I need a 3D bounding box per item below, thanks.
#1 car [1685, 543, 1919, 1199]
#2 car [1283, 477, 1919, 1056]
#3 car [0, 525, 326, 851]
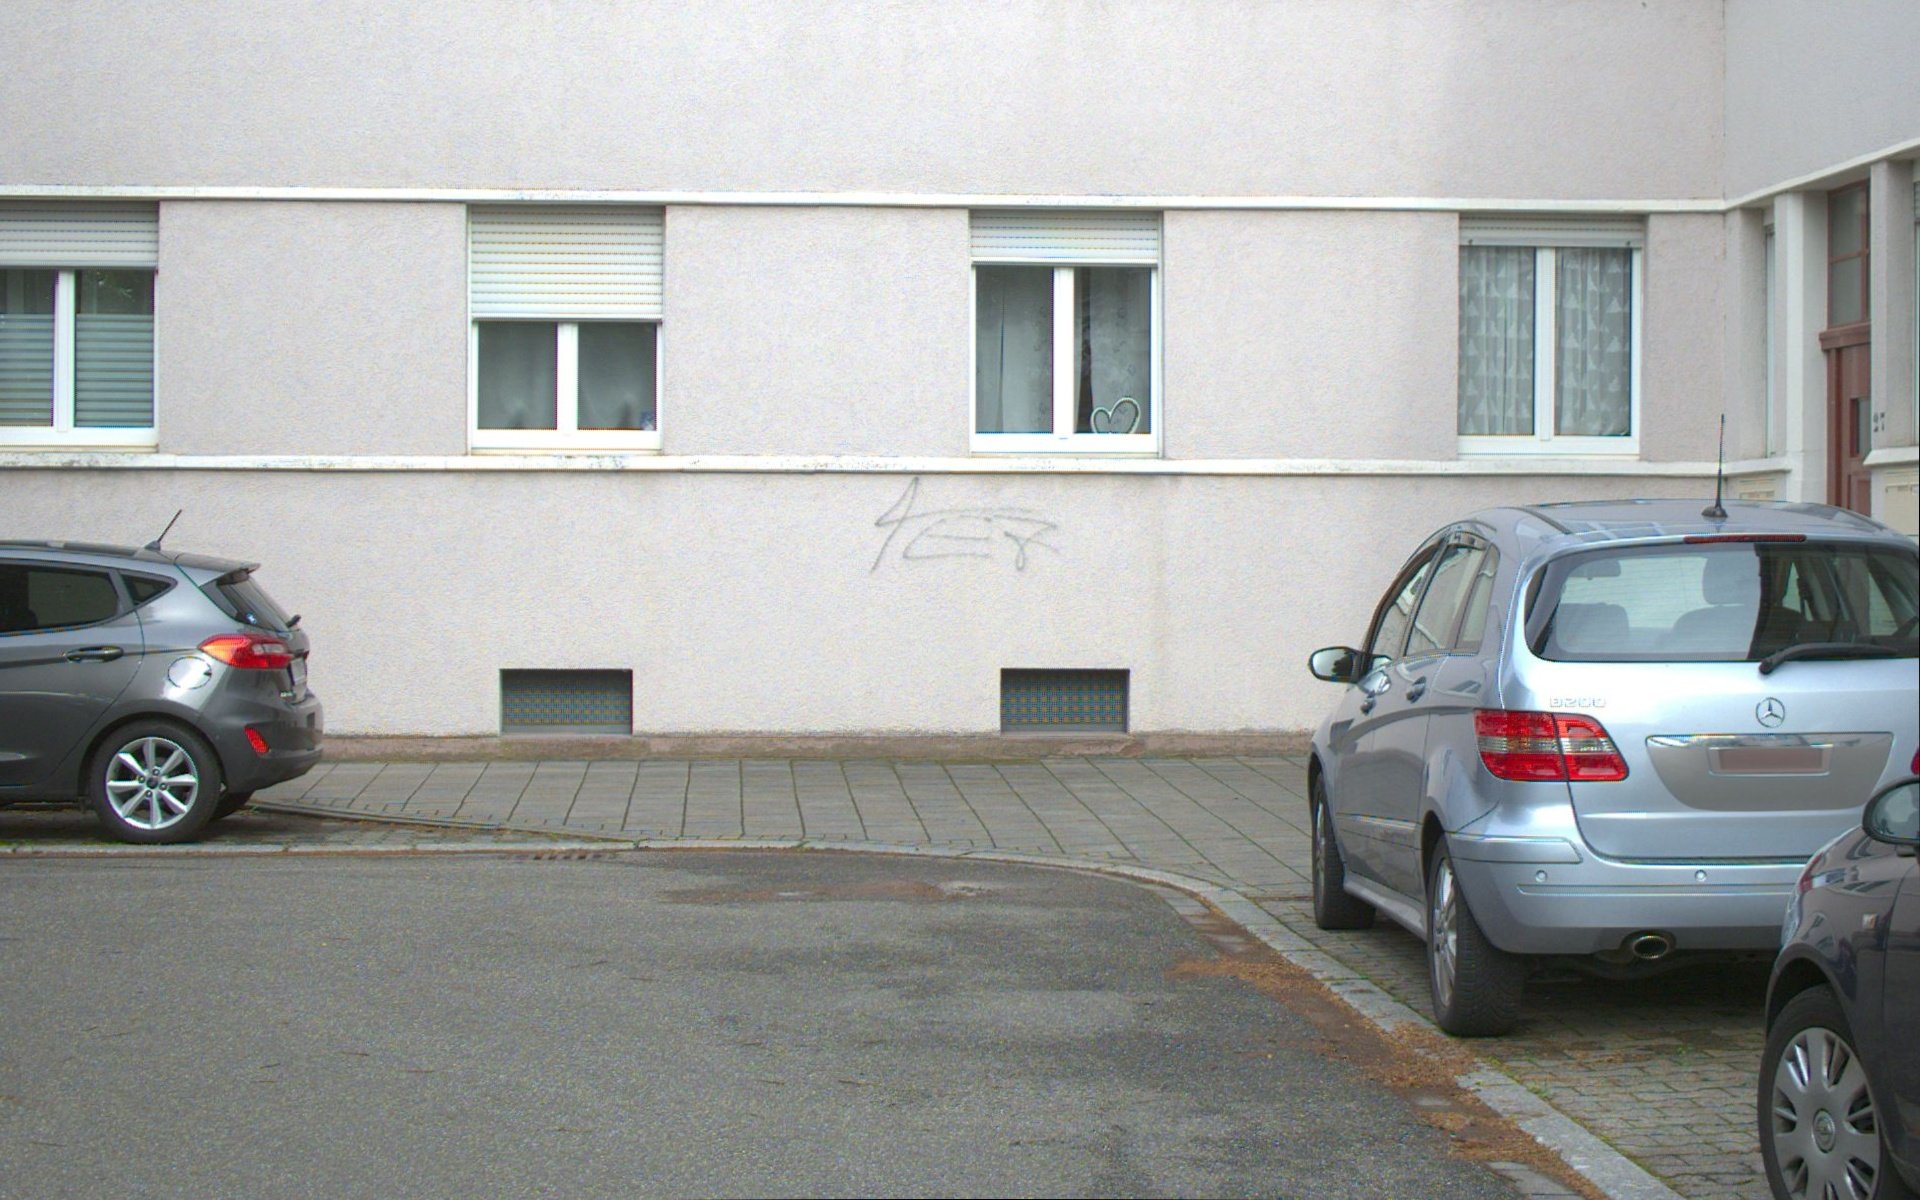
[{"bbox_3d":[2.646,0.647,5.876,1.756,1.484,3.937,0,1,-4],"label":"car"},{"bbox_3d":[2.223,0.451,11.771,1.757,1.622,4.200,0,1,-1],"label":"car"},{"bbox_3d":[-5.312,0.395,17.157,4.065,1.520,1.763,1,2,-5],"label":"car"}]
